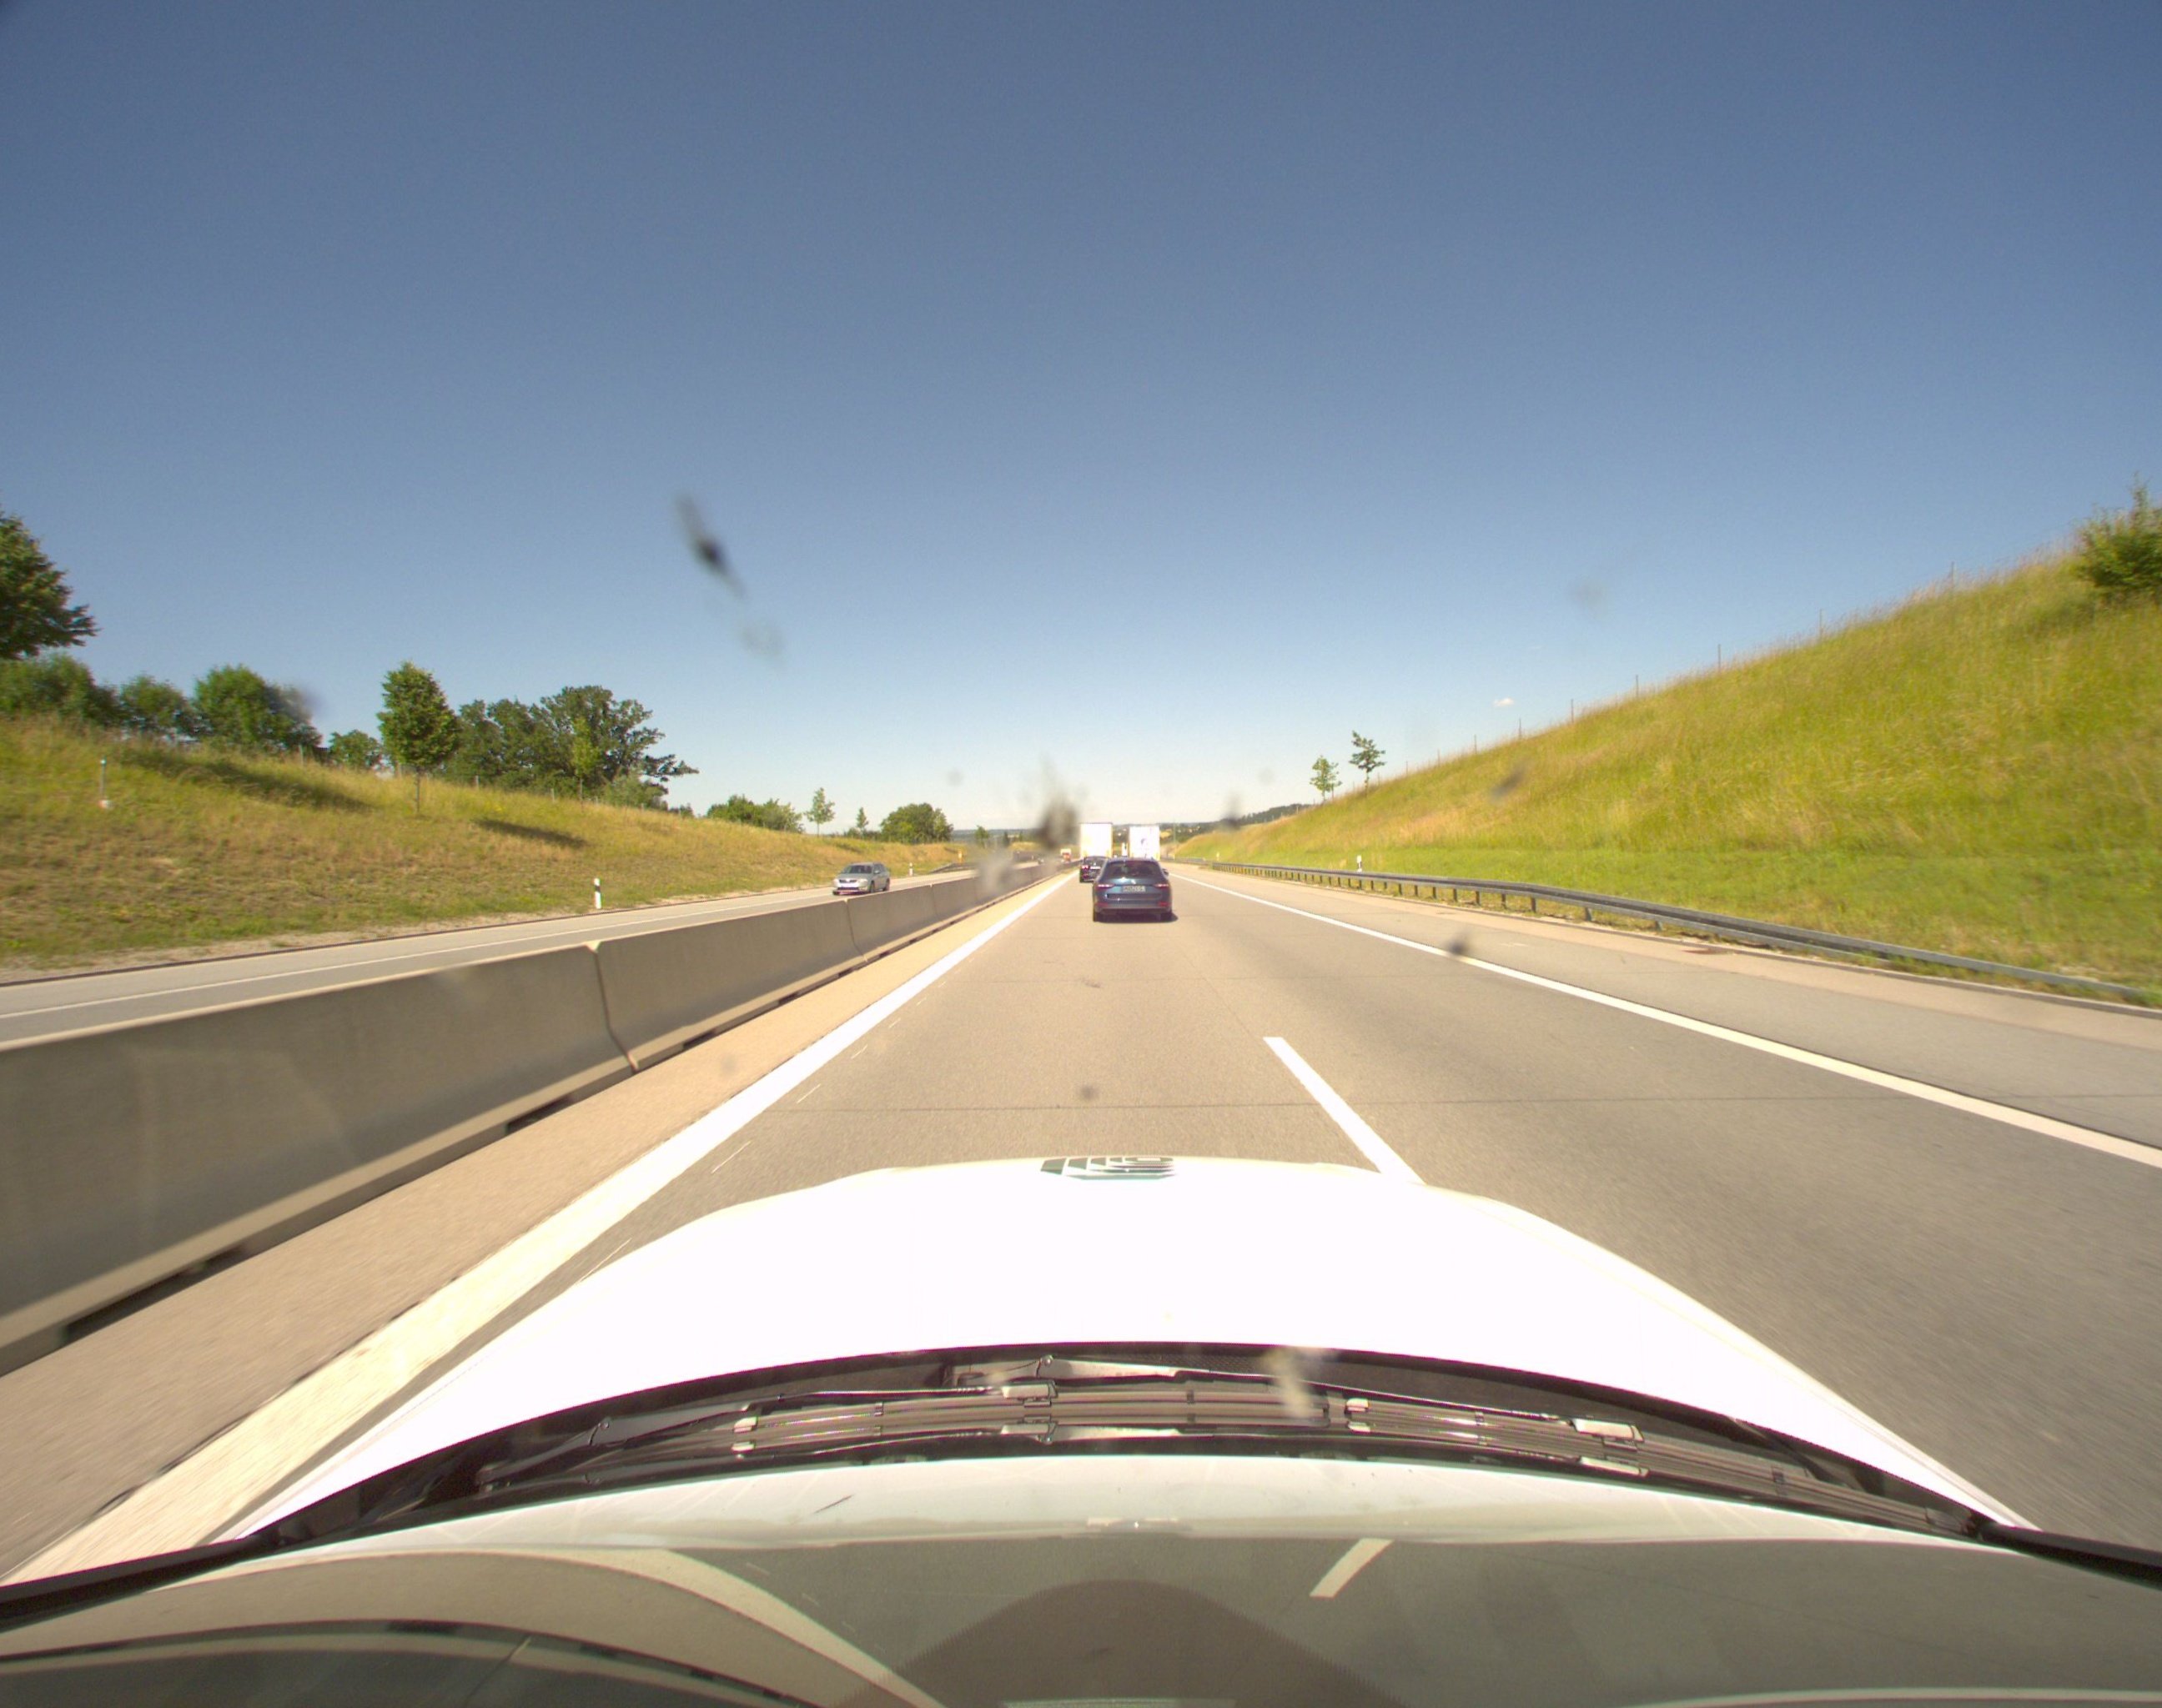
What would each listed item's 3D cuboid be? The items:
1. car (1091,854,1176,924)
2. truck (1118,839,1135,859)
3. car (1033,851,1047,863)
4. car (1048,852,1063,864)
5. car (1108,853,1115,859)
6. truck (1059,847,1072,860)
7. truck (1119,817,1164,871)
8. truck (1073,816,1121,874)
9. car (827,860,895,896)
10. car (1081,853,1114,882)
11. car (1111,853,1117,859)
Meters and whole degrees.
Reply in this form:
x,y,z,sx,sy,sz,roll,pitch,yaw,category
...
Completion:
x,y,z,sx,sy,sz,roll,pitch,yaw,category
1.139,0.745,19.277,1.771,1.441,3.788,-1,0,0,car
10.549,-1.115,188.497,3.588,4.381,11.246,-3,0,4,truck
-6.993,0.462,138.179,1.986,2.013,4.972,0,0,2,car
-3.753,0.531,120.353,1.924,1.732,4.888,0,0,2,car
7.270,0.551,194.836,1.693,1.441,4.003,-1,0,3,car
-3.513,-0.167,188.146,2.764,3.021,6.795,-1,0,2,truck
5.630,-0.887,75.786,3.588,4.381,11.246,-3,0,4,truck
1.540,-0.722,69.161,3.196,4.381,11.247,-3,0,4,truck
-10.180,1.065,37.982,1.796,1.471,4.529,-2,0,2,car
0.884,0.694,44.881,1.694,1.441,4.000,-3,0,0,car
9.489,0.571,232.500,1.693,1.441,4.003,-1,0,3,car
